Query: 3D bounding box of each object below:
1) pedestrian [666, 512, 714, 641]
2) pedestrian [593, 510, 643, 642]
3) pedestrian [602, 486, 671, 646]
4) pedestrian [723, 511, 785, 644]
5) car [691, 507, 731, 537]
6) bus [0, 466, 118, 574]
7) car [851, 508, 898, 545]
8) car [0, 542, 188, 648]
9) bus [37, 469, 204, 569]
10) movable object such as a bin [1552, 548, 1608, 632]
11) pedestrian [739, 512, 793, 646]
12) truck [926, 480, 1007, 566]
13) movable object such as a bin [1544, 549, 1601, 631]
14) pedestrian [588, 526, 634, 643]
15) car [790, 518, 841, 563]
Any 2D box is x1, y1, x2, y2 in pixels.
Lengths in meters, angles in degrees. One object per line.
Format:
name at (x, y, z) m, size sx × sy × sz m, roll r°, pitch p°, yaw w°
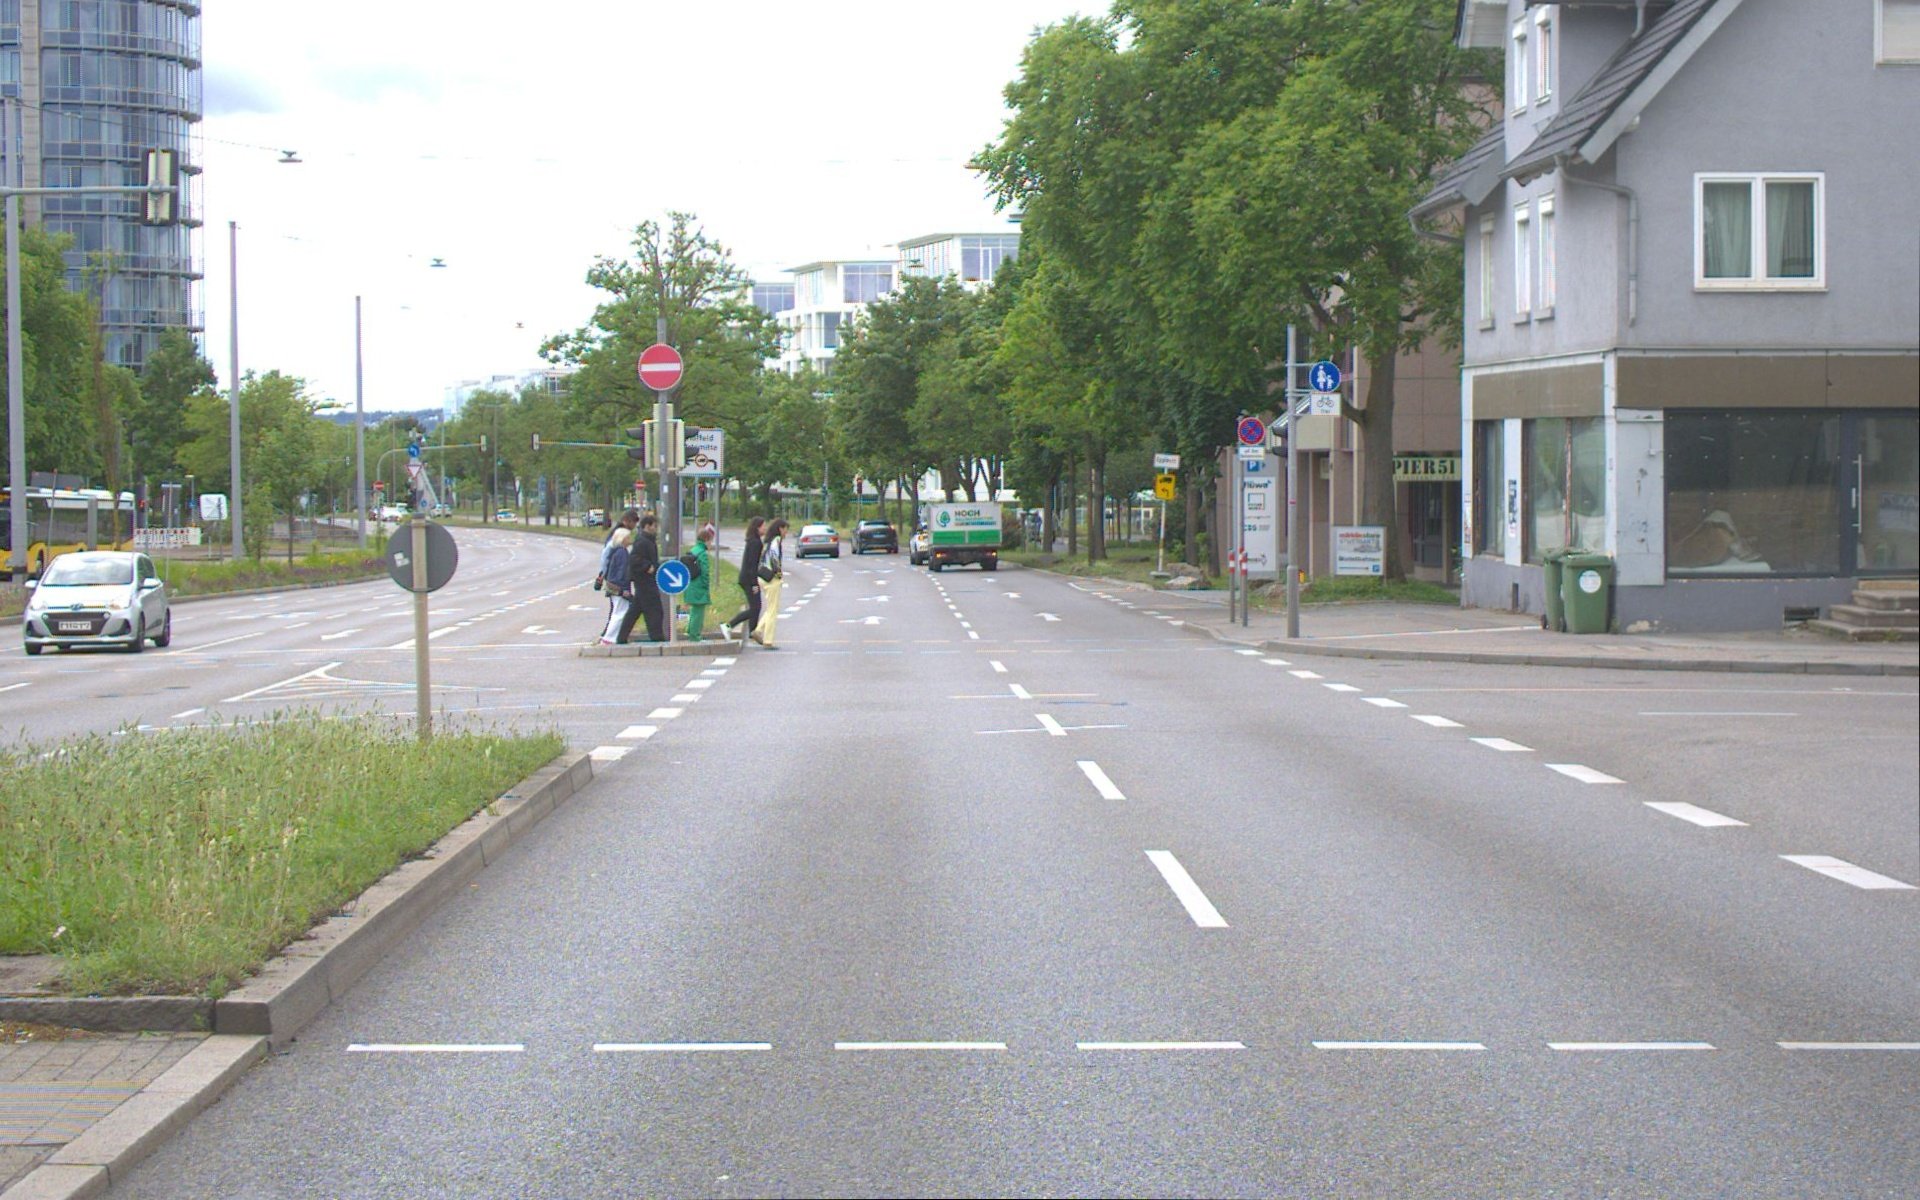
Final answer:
pedestrian at (-3.606, -0.313, 45.898) m, size 0.583 × 1.710 × 0.546 m, roll -1°, pitch 1°, yaw -7°
pedestrian at (-4.495, -0.318, 45.152) m, size 0.612 × 1.710 × 0.546 m, roll -1°, pitch 1°, yaw -7°
pedestrian at (-4.120, -0.438, 43.714) m, size 0.829 × 2.007 × 0.546 m, roll -1°, pitch 1°, yaw -7°
pedestrian at (-2.675, -0.296, 44.686) m, size 0.745 × 1.710 × 0.583 m, roll -1°, pitch 1°, yaw -7°
car at (-12.766, -3.984, 176.125) m, size 1.993 × 1.514 × 4.001 m, roll -1°, pitch 1°, yaw -4°
bus at (-30.977, -2.625, 114.089) m, size 2.832 × 3.419 × 10.732 m, roll -1°, pitch 1°, yaw 3°
car at (-3.688, -3.174, 149.215) m, size 1.993 × 1.546 × 4.000 m, roll 1°, pitch 1°, yaw -1°
car at (-12.840, -0.108, 50.944) m, size 1.993 × 1.481 × 4.000 m, roll -1°, pitch 1°, yaw -2°
bus at (-30.363, -2.920, 124.827) m, size 2.832 × 3.419 × 10.732 m, roll -1°, pitch 1°, yaw 3°
movable object such as a bin at (7.917, -0.130, 43.912) m, size 0.604 × 1.056 × 0.589 m, roll 1°, pitch 1°, yaw 1°
pedestrian at (-2.494, -0.270, 44.169) m, size 0.653 × 1.710 × 0.452 m, roll -1°, pitch 1°, yaw -7°
truck at (0.205, -2.527, 110.878) m, size 2.470 × 2.602 × 6.548 m, roll 1°, pitch 2°, yaw 0°
movable object such as a bin at (7.908, -0.130, 44.420) m, size 0.616 × 1.039 × 0.589 m, roll 1°, pitch 1°, yaw 1°
pedestrian at (-4.499, -0.206, 44.292) m, size 0.543 × 1.491 × 0.487 m, roll -1°, pitch 1°, yaw -9°
car at (-6.012, -2.487, 143.376) m, size 1.993 × 1.824 × 4.000 m, roll 0°, pitch 1°, yaw -1°
